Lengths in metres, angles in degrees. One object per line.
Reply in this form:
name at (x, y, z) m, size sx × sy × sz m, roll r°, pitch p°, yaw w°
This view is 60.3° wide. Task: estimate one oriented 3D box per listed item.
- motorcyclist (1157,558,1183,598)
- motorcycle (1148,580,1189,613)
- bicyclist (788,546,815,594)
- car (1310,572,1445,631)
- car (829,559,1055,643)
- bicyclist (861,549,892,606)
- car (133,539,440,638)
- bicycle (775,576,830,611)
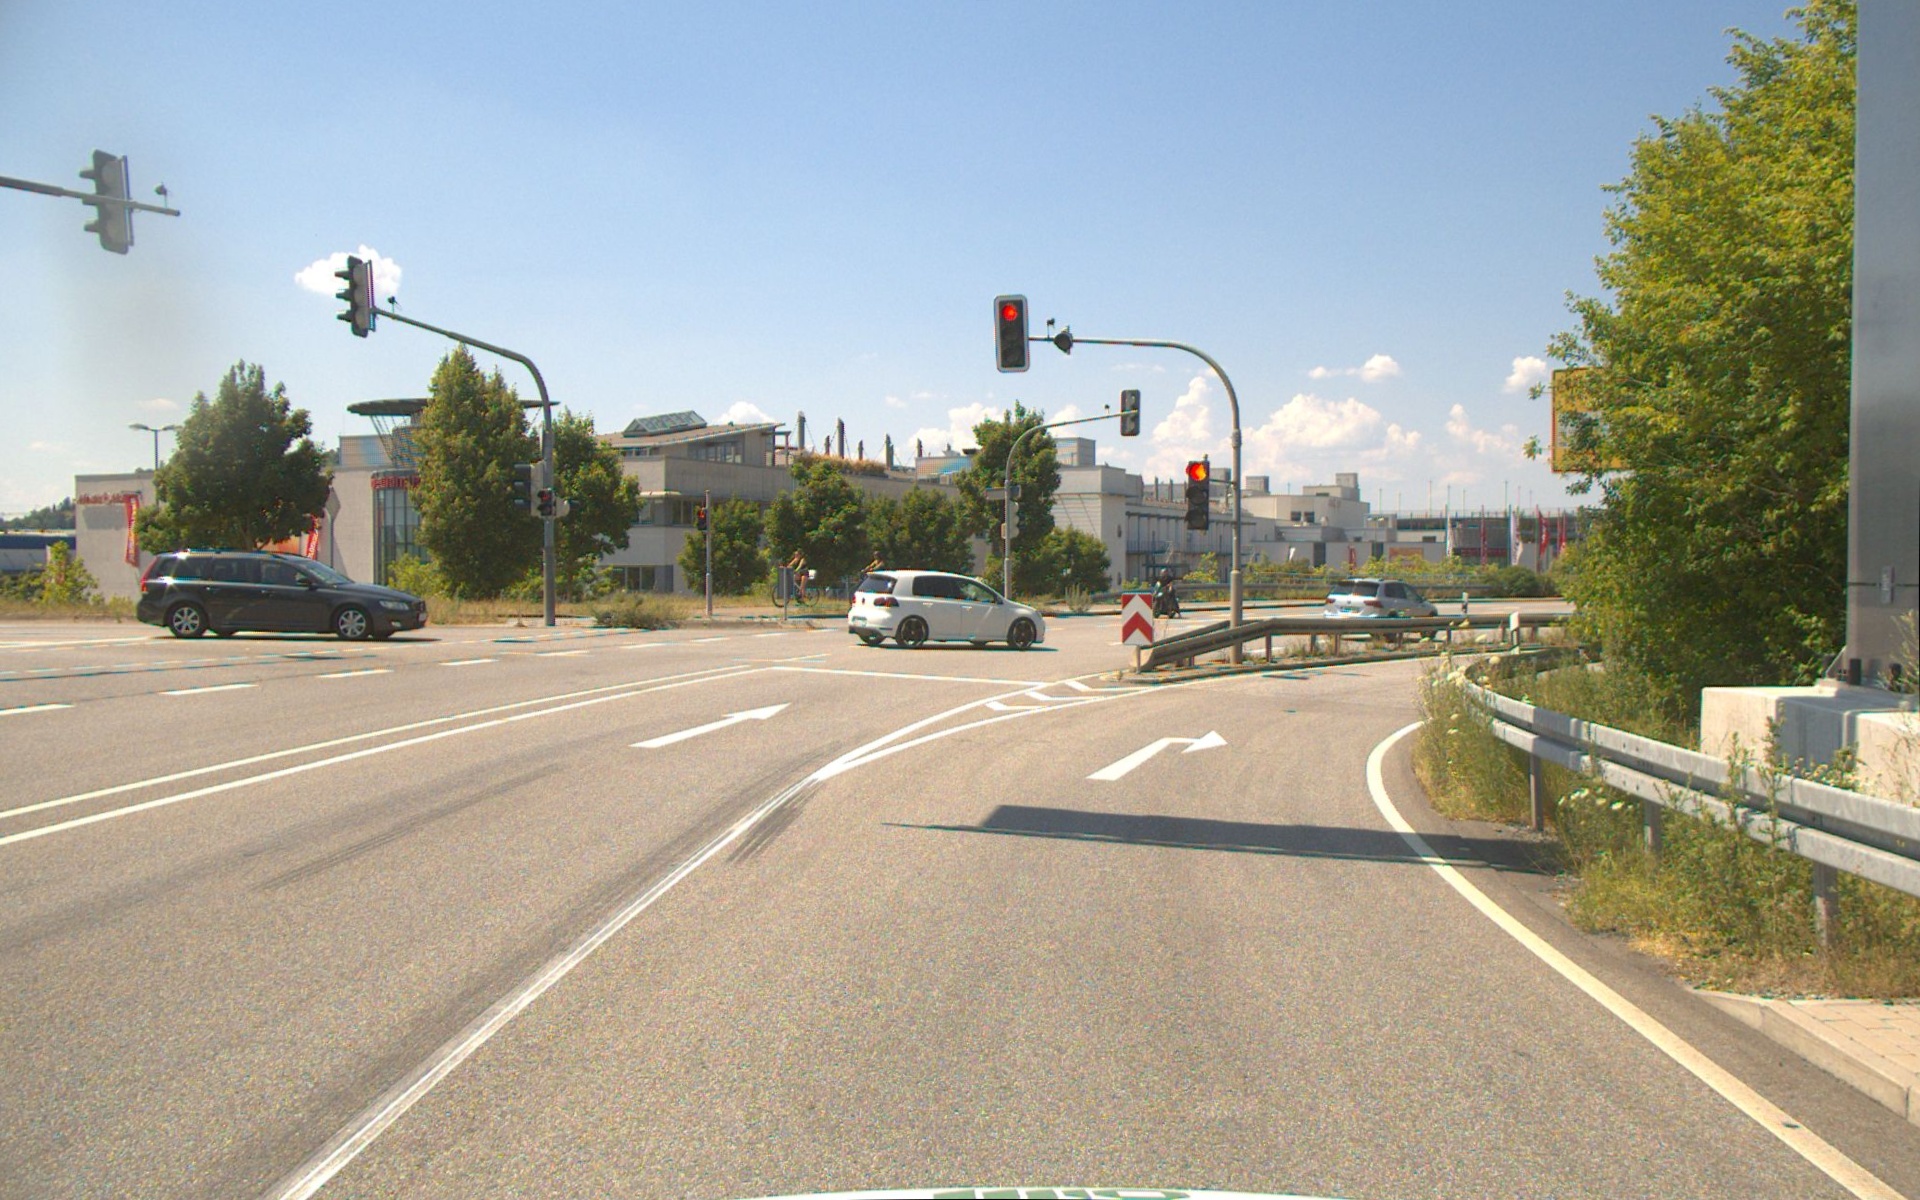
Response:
motorcyclist at (7.175, -0.750, 56.539) m, size 0.662 × 1.325 × 0.722 m, roll 0°, pitch 0°, yaw 31°
motorcycle at (7.130, -0.121, 56.491) m, size 0.552 × 1.099 × 2.280 m, roll 0°, pitch 0°, yaw 30°
bicyclist at (-4.841, -0.906, 50.571) m, size 0.401 × 1.428 × 0.680 m, roll 3°, pitch 1°, yaw 42°
car at (11.472, 0.028, 45.261) m, size 1.962 × 1.532 × 4.375 m, roll 0°, pitch 0°, yaw 38°
car at (-0.347, 0.025, 32.968) m, size 4.084 × 1.512 × 1.977 m, roll 2°, pitch 1°, yaw -34°
bicyclist at (-2.588, -0.701, 51.405) m, size 0.720 × 1.747 × 0.526 m, roll 2°, pitch 2°, yaw -30°
car at (-11.718, -0.198, 29.000) m, size 4.624 × 1.572 × 1.736 m, roll 1°, pitch 0°, yaw -3°
bicycle at (-4.809, -0.200, 50.637) m, size 0.408 × 1.042 × 1.820 m, roll 4°, pitch 2°, yaw 42°
